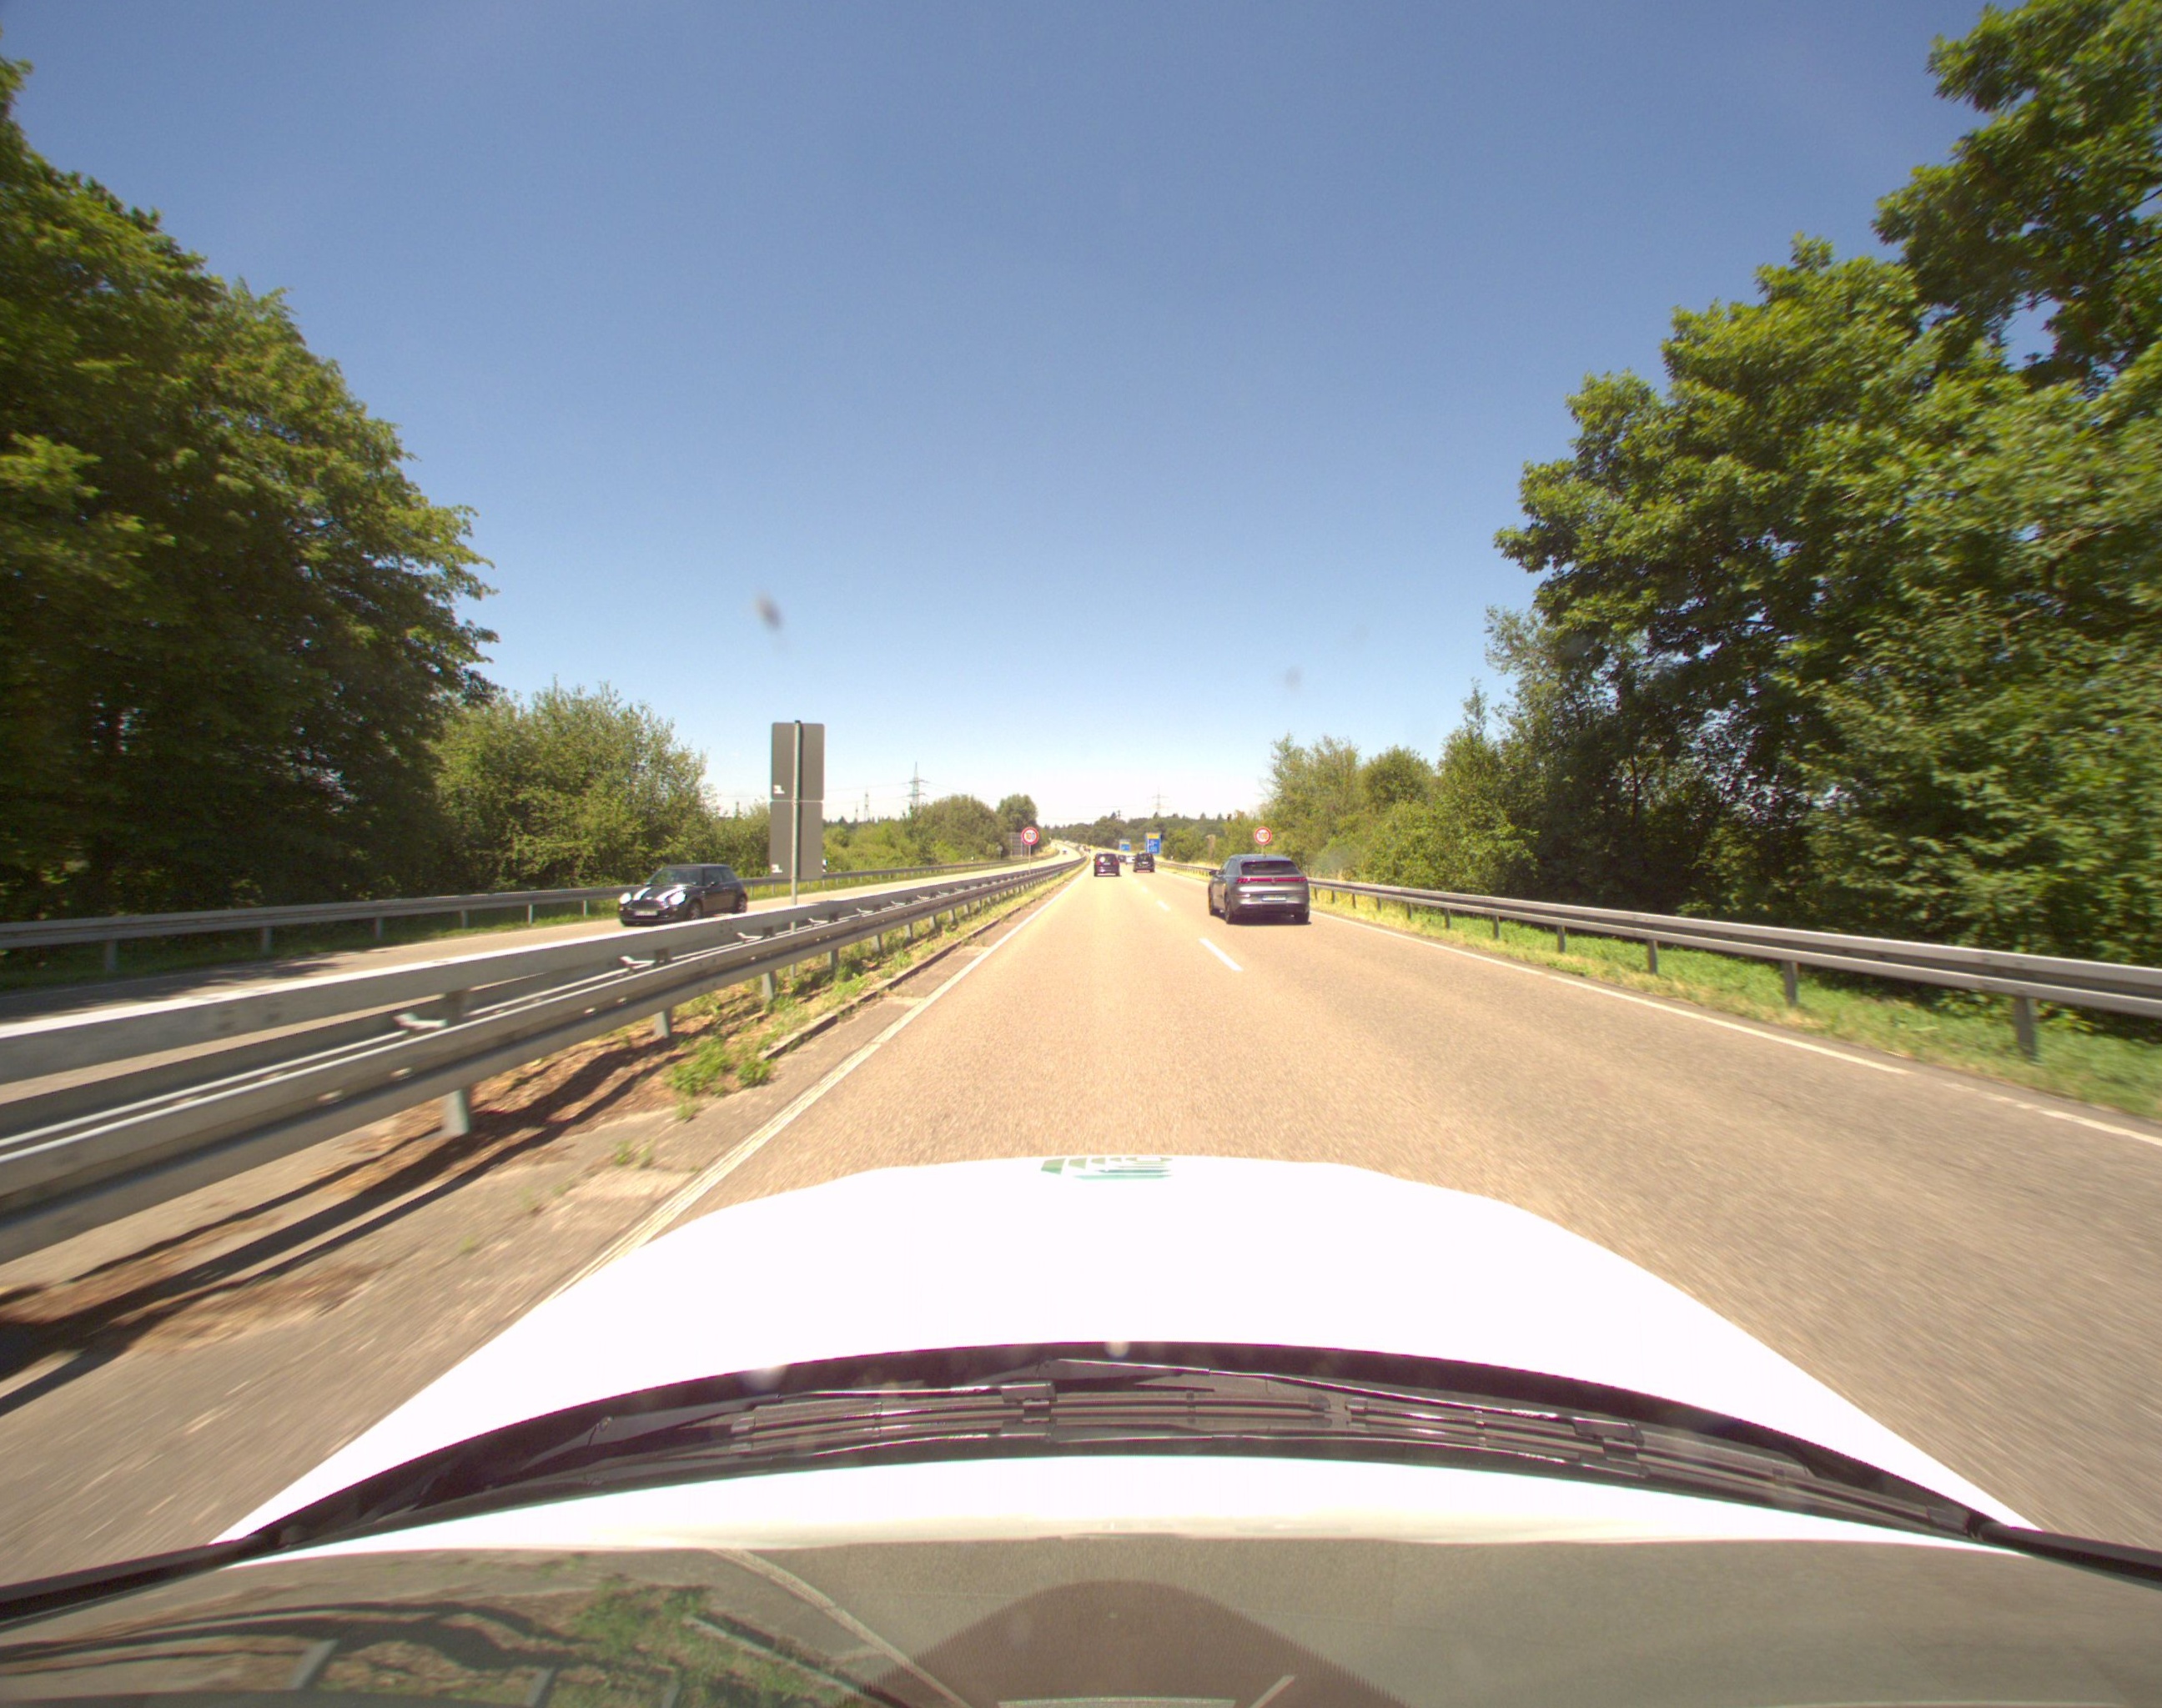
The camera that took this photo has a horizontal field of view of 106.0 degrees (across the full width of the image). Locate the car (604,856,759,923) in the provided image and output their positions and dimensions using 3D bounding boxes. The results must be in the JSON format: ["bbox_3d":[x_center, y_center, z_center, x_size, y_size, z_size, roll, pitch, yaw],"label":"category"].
[{"bbox_3d":[-9.583,0.791,19.892,1.790,1.468,3.776,0,0,2],"label":"car"}]

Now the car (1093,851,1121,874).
[{"bbox_3d":[1.919,0.645,61.253,1.987,1.654,3.999,0,0,0],"label":"car"}]

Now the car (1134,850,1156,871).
[{"bbox_3d":[5.762,0.534,73.860,1.773,1.816,4.215,0,1,1],"label":"car"}]

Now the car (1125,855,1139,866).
[{"bbox_3d":[7.367,0.957,118.035,1.773,1.479,4.314,2,0,0],"label":"car"}]

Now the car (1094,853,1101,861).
[{"bbox_3d":[3.568,0.650,177.541,1.510,1.475,3.066,2,1,0],"label":"car"}]

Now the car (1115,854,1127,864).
[{"bbox_3d":[6.555,0.803,132.498,1.813,1.414,4.001,-1,1,1],"label":"car"}]

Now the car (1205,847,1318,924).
[{"bbox_3d":[4.093,0.653,19.116,1.779,1.553,4.019,-1,1,0],"label":"car"}]
